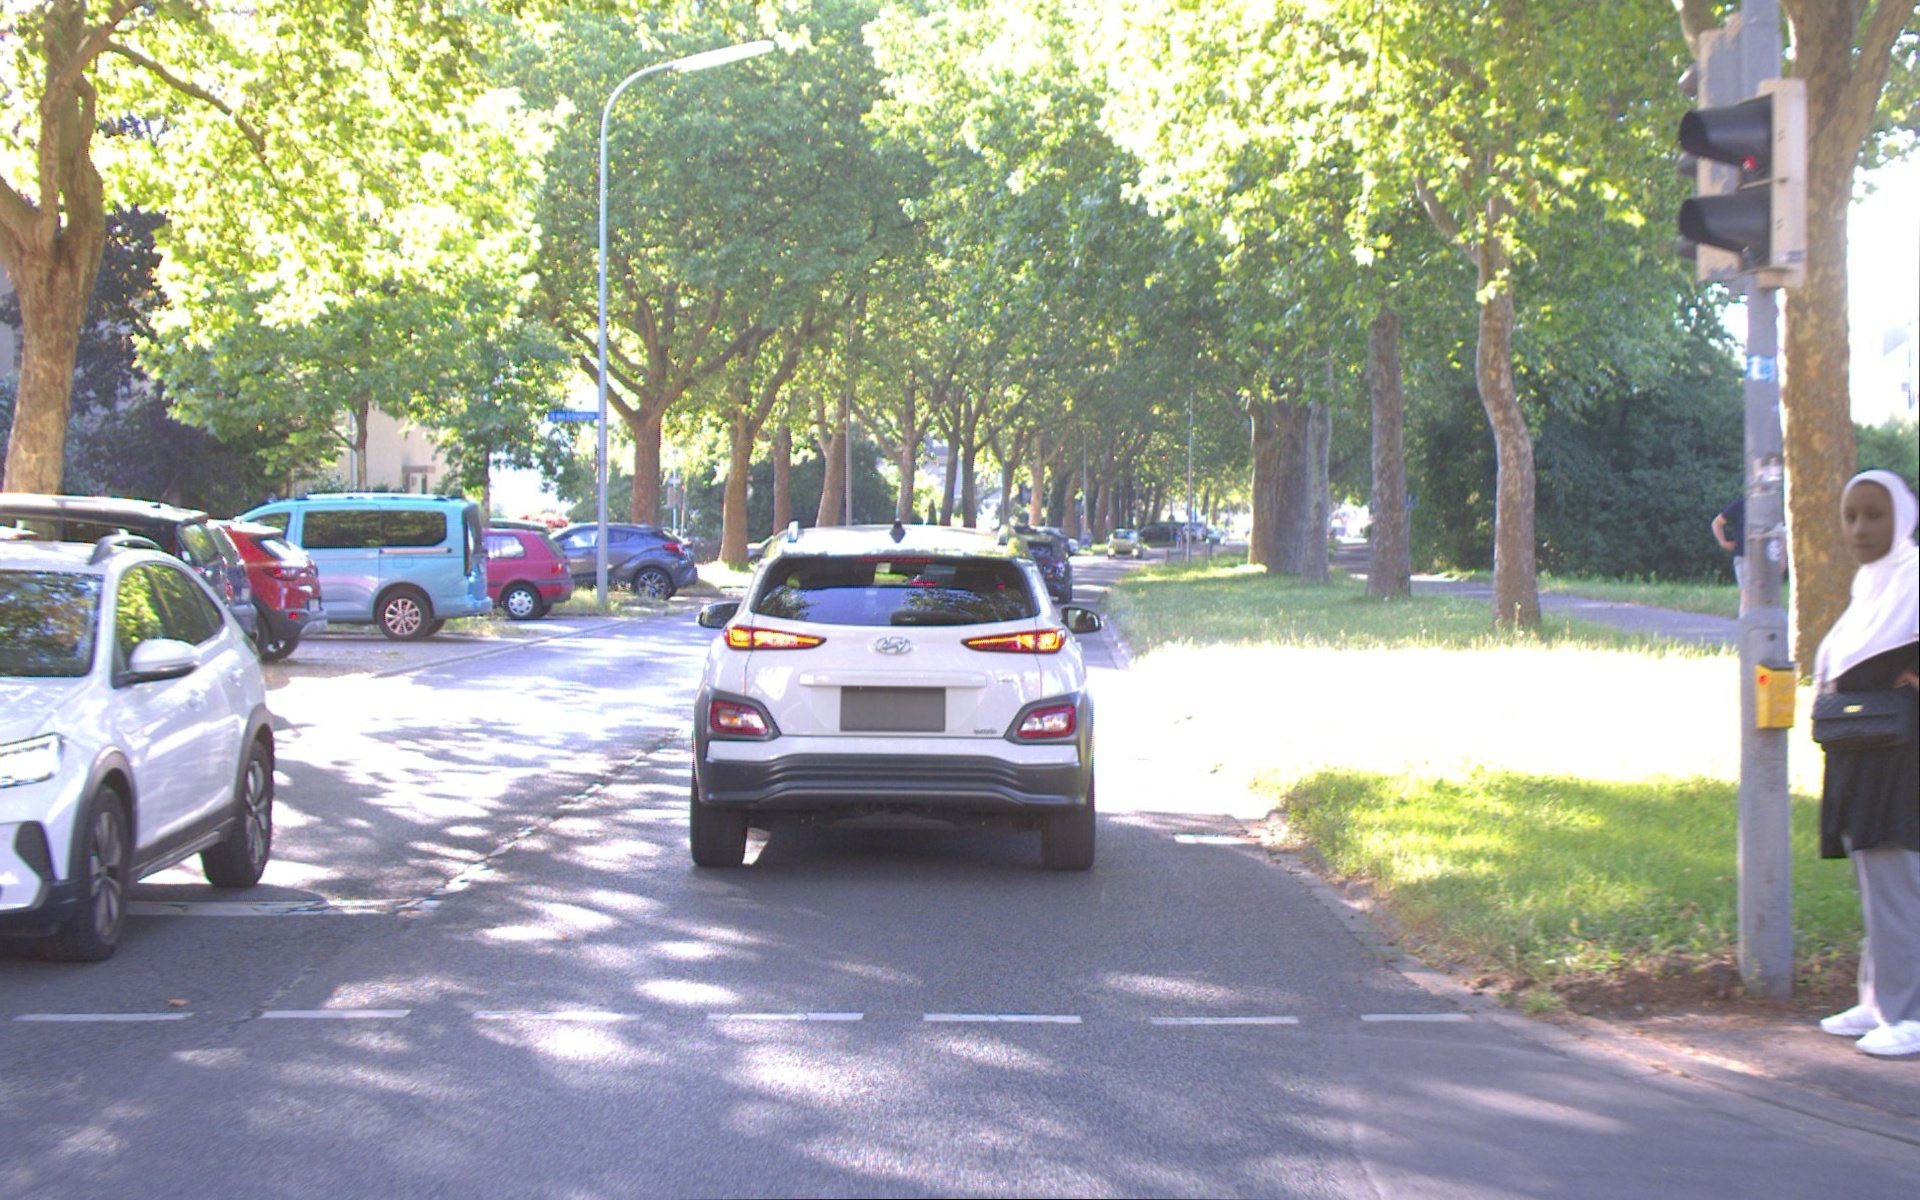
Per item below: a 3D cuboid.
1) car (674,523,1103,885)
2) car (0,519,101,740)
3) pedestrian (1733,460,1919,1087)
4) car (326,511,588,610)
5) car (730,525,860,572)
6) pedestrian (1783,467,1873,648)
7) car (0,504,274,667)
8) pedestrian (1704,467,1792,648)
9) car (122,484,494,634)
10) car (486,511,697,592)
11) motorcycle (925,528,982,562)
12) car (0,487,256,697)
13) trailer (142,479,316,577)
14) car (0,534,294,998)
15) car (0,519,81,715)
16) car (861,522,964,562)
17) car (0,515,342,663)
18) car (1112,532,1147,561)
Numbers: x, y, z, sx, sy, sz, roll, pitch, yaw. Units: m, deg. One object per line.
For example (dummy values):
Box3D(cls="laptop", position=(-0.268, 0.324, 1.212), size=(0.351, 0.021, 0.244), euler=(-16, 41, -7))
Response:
Box3D(cls="car", position=(-0.383, 0.403, 16.741), size=(1.835, 1.550, 4.001), euler=(0, 1, -2))
Box3D(cls="car", position=(-8.352, 0.150, 24.186), size=(4.161, 1.496, 1.876), euler=(1, 1, -2))
Box3D(cls="pedestrian", position=(2.702, 0.459, 9.878), size=(0.634, 1.713, 0.826), euler=(-2, 1, -8))
Box3D(cls="car", position=(-7.867, -0.638, 54.000), size=(3.871, 1.513, 1.665), euler=(0, 1, -1))
Box3D(cls="car", position=(-5.098, -1.588, 106.492), size=(3.826, 1.312, 1.790), euler=(2, 1, 4))
Box3D(cls="pedestrian", position=(8.911, -0.438, 35.328), size=(0.754, 1.841, 0.802), euler=(0, 1, 4))
Box3D(cls="car", position=(-8.719, -0.169, 34.117), size=(3.511, 1.511, 1.727), euler=(2, 1, -4))
Box3D(cls="pedestrian", position=(8.105, -0.440, 35.383), size=(0.761, 1.839, 0.787), euler=(0, 1, 4))
Box3D(cls="car", position=(-8.304, -0.534, 44.076), size=(4.385, 1.818, 1.996), euler=(1, 1, -1))
Box3D(cls="car", position=(-7.251, -0.963, 67.900), size=(3.988, 1.513, 1.817), euler=(1, 1, -1))
Box3D(cls="motorcycle", position=(-0.276, -2.331, 145.784), size=(2.385, 1.383, 0.648), euler=(1, 2, 1))
Box3D(cls="car", position=(-8.215, -0.094, 29.165), size=(4.091, 1.710, 1.832), euler=(1, 1, 0))
Box3D(cls="trailer", position=(-16.540, -1.643, 77.850), size=(3.453, 1.919, 1.643), euler=(4, 3, 2))
Box3D(cls="car", position=(-3.840, 0.499, 13.234), size=(1.716, 1.496, 4.094), euler=(1, 1, 0))
Box3D(cls="car", position=(-8.994, 0.092, 26.929), size=(3.758, 1.478, 1.754), euler=(1, 1, 0))
Box3D(cls="car", position=(-1.959, -2.425, 143.597), size=(4.183, 1.579, 2.000), euler=(1, 1, 2))
Box3D(cls="car", position=(-8.516, -0.134, 36.313), size=(3.642, 1.511, 1.782), euler=(0, 1, 1))
Box3D(cls="car", position=(8.615, -2.718, 174.937), size=(1.689, 1.460, 3.694), euler=(1, 1, 3))
